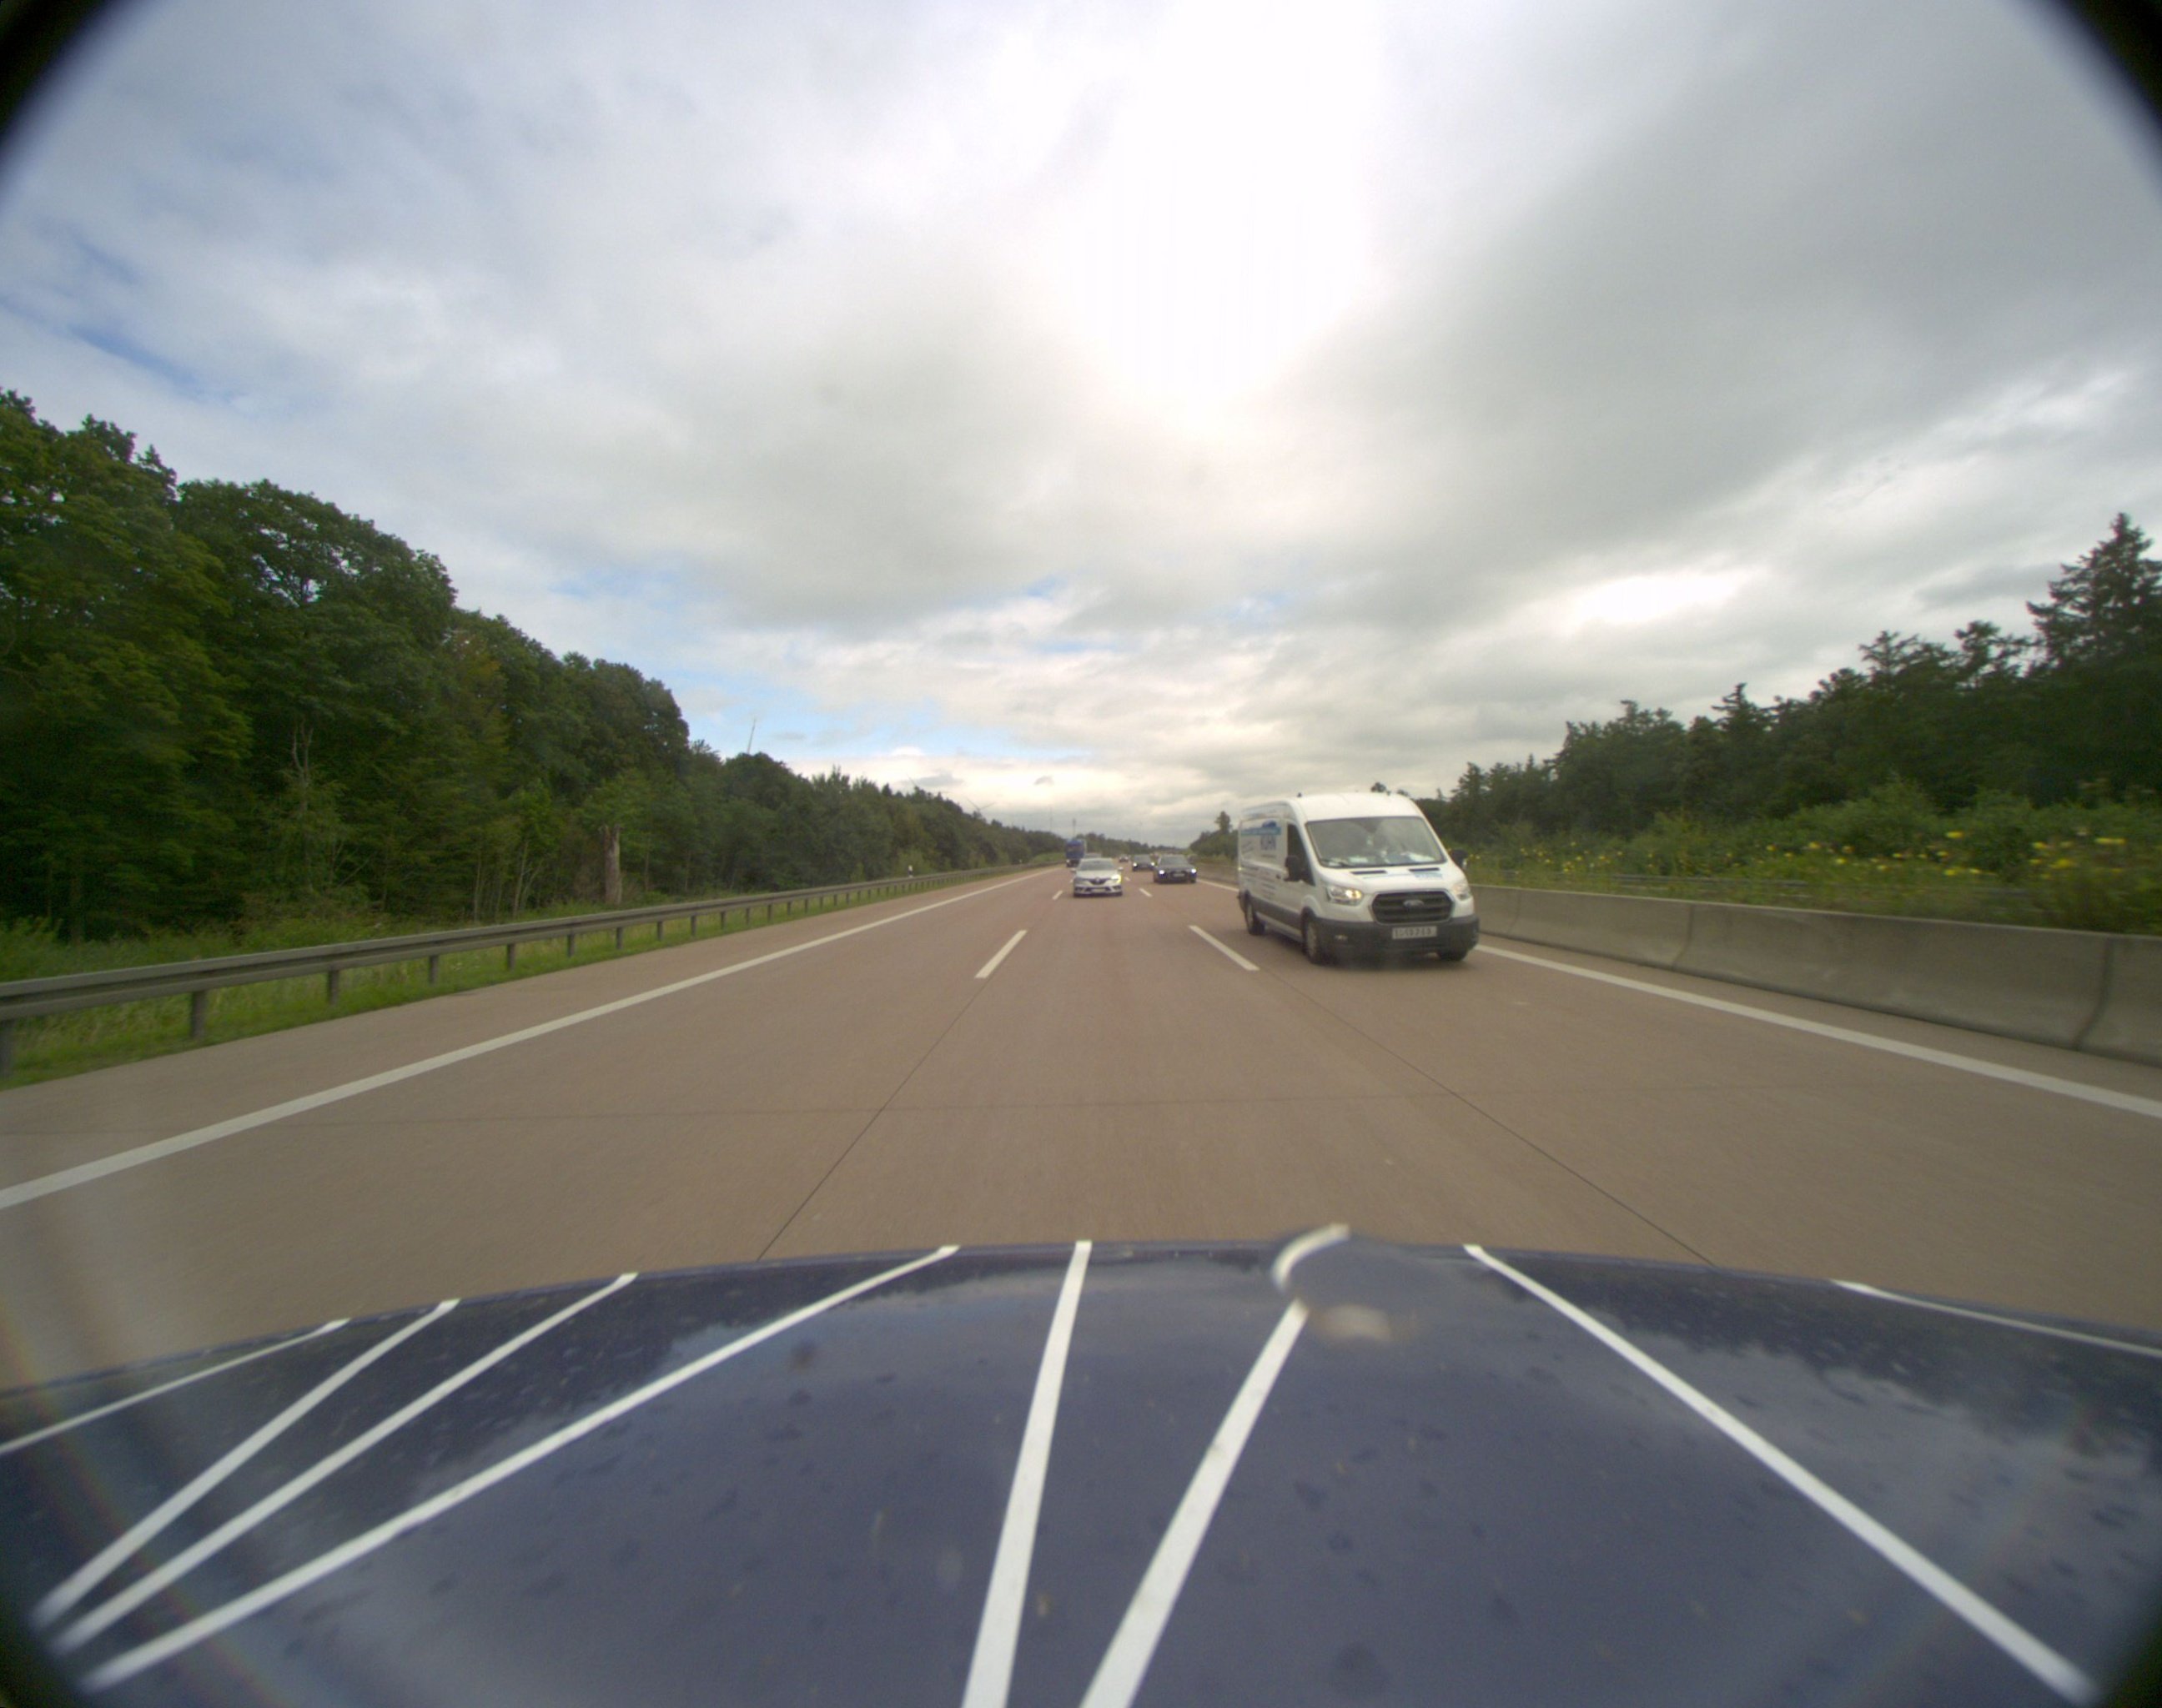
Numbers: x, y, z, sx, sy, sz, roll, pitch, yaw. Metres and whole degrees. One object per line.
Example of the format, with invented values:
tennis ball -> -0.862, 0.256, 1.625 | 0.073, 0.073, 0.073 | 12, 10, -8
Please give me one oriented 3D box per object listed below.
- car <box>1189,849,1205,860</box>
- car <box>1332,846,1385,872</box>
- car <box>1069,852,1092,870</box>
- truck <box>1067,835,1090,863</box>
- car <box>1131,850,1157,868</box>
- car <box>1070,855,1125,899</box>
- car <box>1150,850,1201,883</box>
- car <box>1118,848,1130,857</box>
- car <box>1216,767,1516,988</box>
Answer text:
car -> 19.211, 0.087, 125.484 | 1.998, 1.669, 4.000 | -3, 0, 1
car -> 16.330, 0.300, 44.926 | 1.752, 1.426, 3.892 | -2, 0, 1
car -> -0.031, 0.575, 67.702 | 1.986, 1.499, 4.052 | -2, 1, 1
truck -> -0.375, -0.671, 110.514 | 2.956, 3.705, 7.948 | -5, 0, 0
car -> 5.755, 0.436, 69.789 | 2.064, 1.483, 5.453 | -2, 1, 2
car -> 0.641, 0.818, 29.174 | 1.923, 1.516, 4.000 | -2, 0, 1
car -> 4.873, 0.600, 39.890 | 2.090, 1.541, 5.674 | -2, 0, 2
car -> 8.677, -0.343, 154.675 | 1.999, 1.689, 5.251 | -2, 1, -1
car -> 3.925, 0.259, 12.311 | 2.143, 2.492, 7.130 | -1, 0, 0
